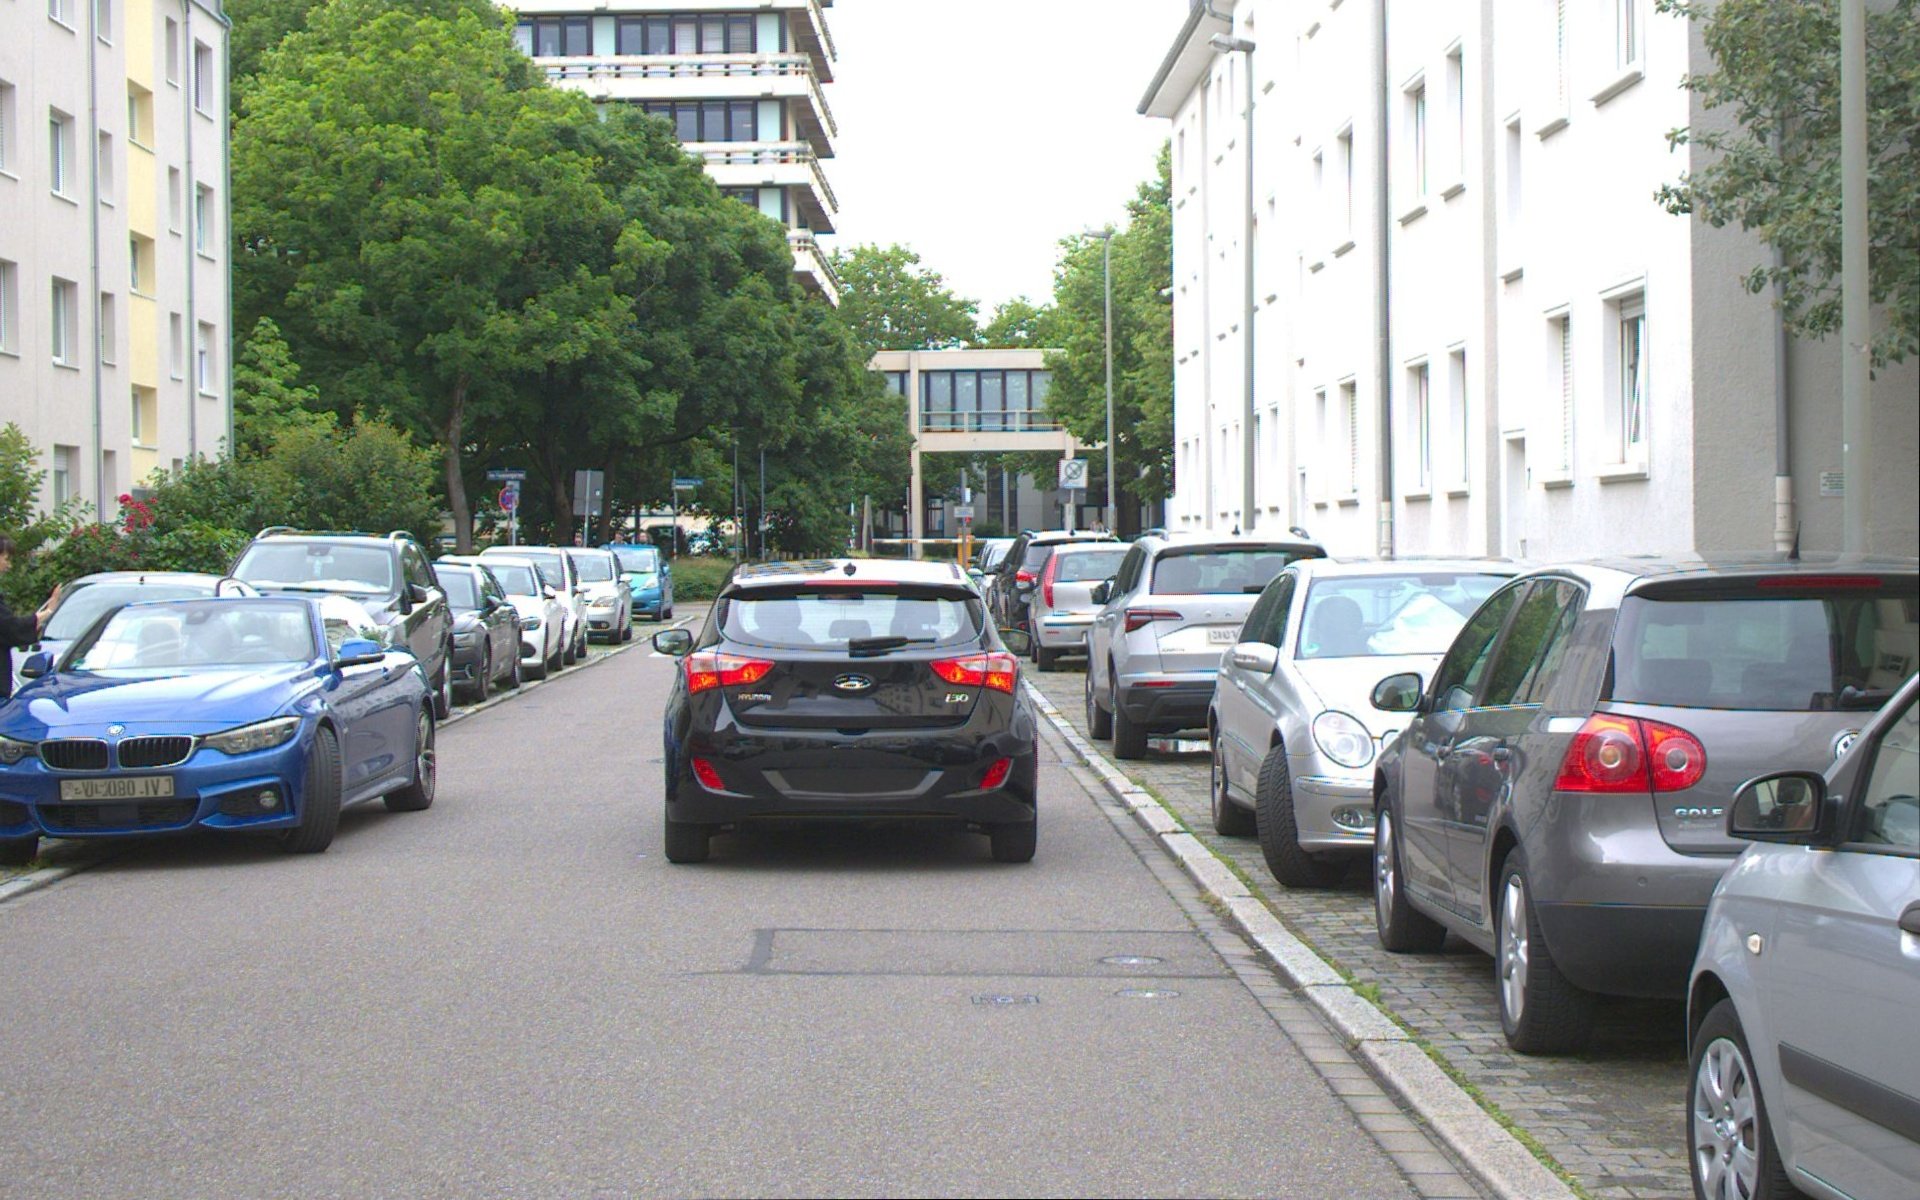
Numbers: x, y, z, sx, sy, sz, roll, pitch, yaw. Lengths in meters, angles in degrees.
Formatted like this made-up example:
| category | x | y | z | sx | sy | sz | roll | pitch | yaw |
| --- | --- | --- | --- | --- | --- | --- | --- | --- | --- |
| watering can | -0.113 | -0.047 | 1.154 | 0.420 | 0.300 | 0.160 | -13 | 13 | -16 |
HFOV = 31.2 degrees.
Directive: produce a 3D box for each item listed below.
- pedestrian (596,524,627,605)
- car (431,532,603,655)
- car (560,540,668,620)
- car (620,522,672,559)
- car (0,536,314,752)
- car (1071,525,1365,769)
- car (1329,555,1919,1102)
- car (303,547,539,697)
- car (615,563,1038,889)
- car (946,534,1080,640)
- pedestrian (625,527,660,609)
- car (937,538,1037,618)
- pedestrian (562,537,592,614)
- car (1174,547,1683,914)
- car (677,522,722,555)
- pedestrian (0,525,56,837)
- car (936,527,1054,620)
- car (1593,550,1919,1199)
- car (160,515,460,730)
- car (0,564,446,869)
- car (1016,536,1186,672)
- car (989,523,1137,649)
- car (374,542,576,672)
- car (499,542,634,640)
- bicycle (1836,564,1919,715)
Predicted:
| category | x | y | z | sx | sy | sz | roll | pitch | yaw |
| --- | --- | --- | --- | --- | --- | --- | --- | --- | --- |
| pedestrian | -7.873 | -0.812 | 77.641 | 0.605 | 1.825 | 0.675 | 0 | 1 | 1 |
| car | -6.211 | -0.123 | 48.658 | 1.895 | 1.593 | 4.521 | 2 | 1 | -1 |
| car | -6.931 | -0.429 | 69.278 | 1.993 | 1.536 | 4.001 | 1 | 1 | -3 |
| car | -11.616 | -2.206 | 127.431 | 1.665 | 1.328 | 3.396 | 0 | 1 | -1 |
| car | -5.986 | 0.269 | 25.473 | 1.744 | 1.459 | 3.786 | -1 | 1 | -1 |
| car | 1.810 | 0.277 | 25.271 | 1.820 | 1.636 | 4.091 | 0 | 1 | 0 |
| car | 2.273 | 0.606 | 11.385 | 1.602 | 1.471 | 3.869 | 1 | 1 | -1 |
| car | -5.789 | 0.191 | 37.438 | 1.895 | 1.447 | 4.667 | 2 | 1 | -1 |
| car | -0.623 | 0.550 | 17.739 | 1.903 | 1.428 | 4.233 | -1 | 1 | 0 |
| car | 0.760 | -0.231 | 52.204 | 1.820 | 1.514 | 4.674 | 0 | 1 | -2 |
| pedestrian | -7.160 | -0.725 | 77.578 | 0.714 | 1.825 | 0.797 | 0 | 1 | 1 |
| car | 0.506 | -0.466 | 68.697 | 1.820 | 1.514 | 4.674 | 1 | 1 | -1 |
| pedestrian | -8.622 | -0.555 | 77.386 | 0.600 | 1.707 | 0.648 | 0 | 1 | 1 |
| car | 2.053 | 0.500 | 16.295 | 1.725 | 1.471 | 4.505 | 0 | 1 | -1 |
| car | -10.653 | -2.535 | 140.876 | 1.665 | 1.328 | 3.396 | 0 | 1 | -1 |
| pedestrian | -5.455 | 0.441 | 19.118 | 0.740 | 1.696 | 0.796 | -1 | 1 | -18 |
| car | 0.558 | -0.477 | 58.690 | 1.820 | 1.514 | 4.674 | 0 | 1 | -2 |
| car | 2.474 | 0.644 | 5.999 | 1.848 | 1.445 | 3.833 | 0 | 1 | -3 |
| car | -5.768 | 0.148 | 31.021 | 1.895 | 1.734 | 4.475 | 2 | 1 | -1 |
| car | -4.112 | 0.546 | 19.067 | 1.845 | 1.446 | 4.501 | 0 | 1 | 0 |
| car | 1.639 | 0.004 | 41.215 | 1.820 | 1.498 | 4.091 | -1 | 1 | 0 |
| car | 1.337 | -0.218 | 45.931 | 1.820 | 1.597 | 4.091 | 0 | 1 | 0 |
| car | -5.935 | 0.047 | 42.539 | 1.895 | 1.447 | 4.521 | 2 | 1 | -1 |
| car | -6.479 | -0.170 | 56.965 | 1.993 | 1.536 | 4.001 | 1 | 1 | -3 |
| bicycle | 6.993 | 0.274 | 24.647 | 1.293 | 1.059 | 0.497 | 0 | 1 | 1 |
